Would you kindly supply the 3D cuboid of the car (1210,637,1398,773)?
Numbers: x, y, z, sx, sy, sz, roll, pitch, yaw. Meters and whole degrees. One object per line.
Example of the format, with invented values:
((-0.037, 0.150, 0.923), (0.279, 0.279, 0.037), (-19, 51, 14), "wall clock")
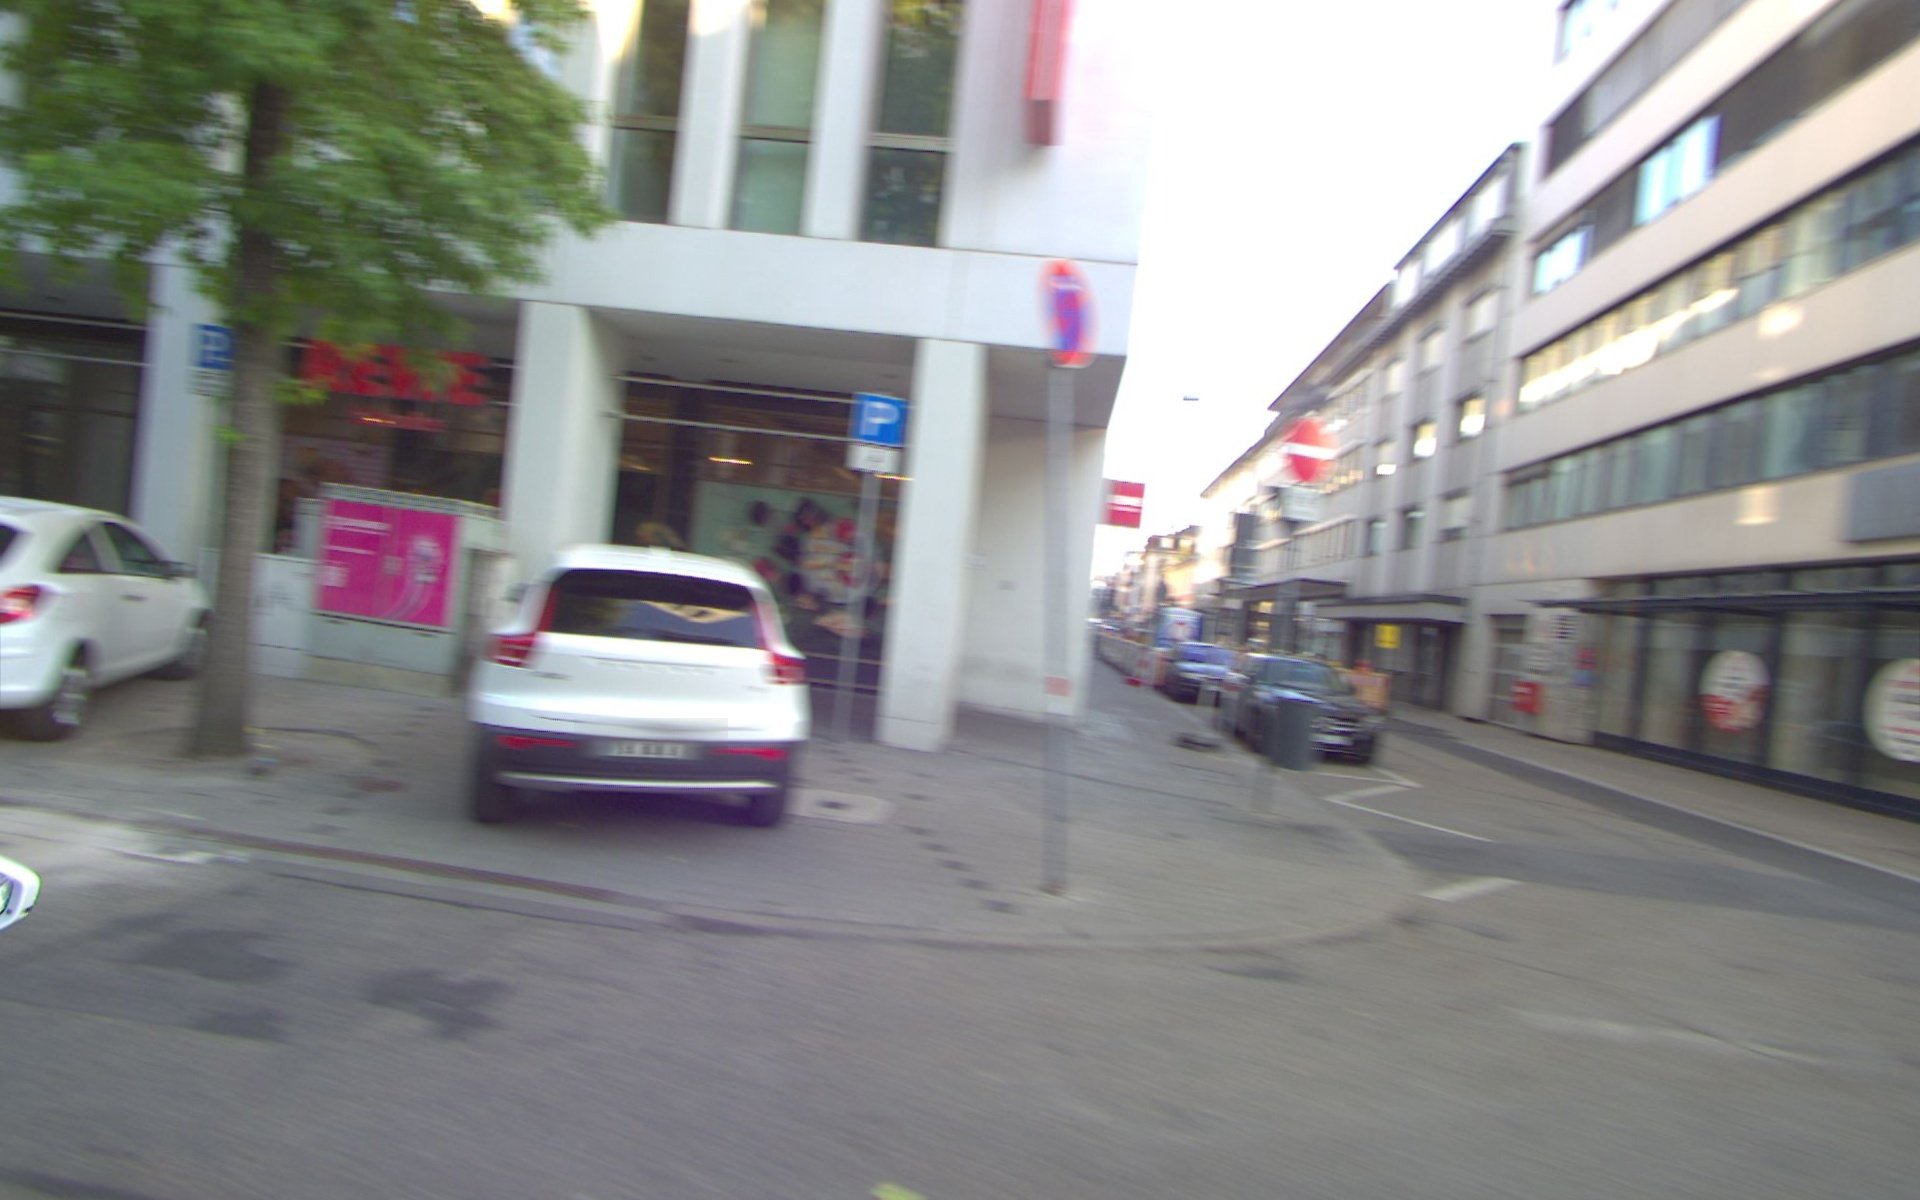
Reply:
((5.269, 1.523, 15.997), (1.867, 1.632, 4.154), (6, 0, 7), "car")

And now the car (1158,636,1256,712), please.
((6.003, 1.755, 24.905), (1.745, 1.493, 4.154), (6, -1, 7), "car")

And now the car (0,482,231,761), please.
((-6.937, -0.051, 7.283), (1.771, 1.522, 4.042), (5, 3, -24), "car")

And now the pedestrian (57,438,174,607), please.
((-9.744, -0.874, 11.641), (0.673, 1.793, 0.801), (8, 0, -24), "pedestrian")

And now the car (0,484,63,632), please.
((-10.005, -0.405, 8.542), (1.800, 1.442, 4.331), (6, 2, -16), "car")

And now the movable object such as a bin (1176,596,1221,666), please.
((9.295, 1.201, 39.179), (1.414, 2.525, 1.758), (7, 1, 14), "movable object such as a bin")

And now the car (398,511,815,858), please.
((-2.465, 0.339, 7.184), (1.923, 1.695, 4.250), (4, 3, -20), "car")
